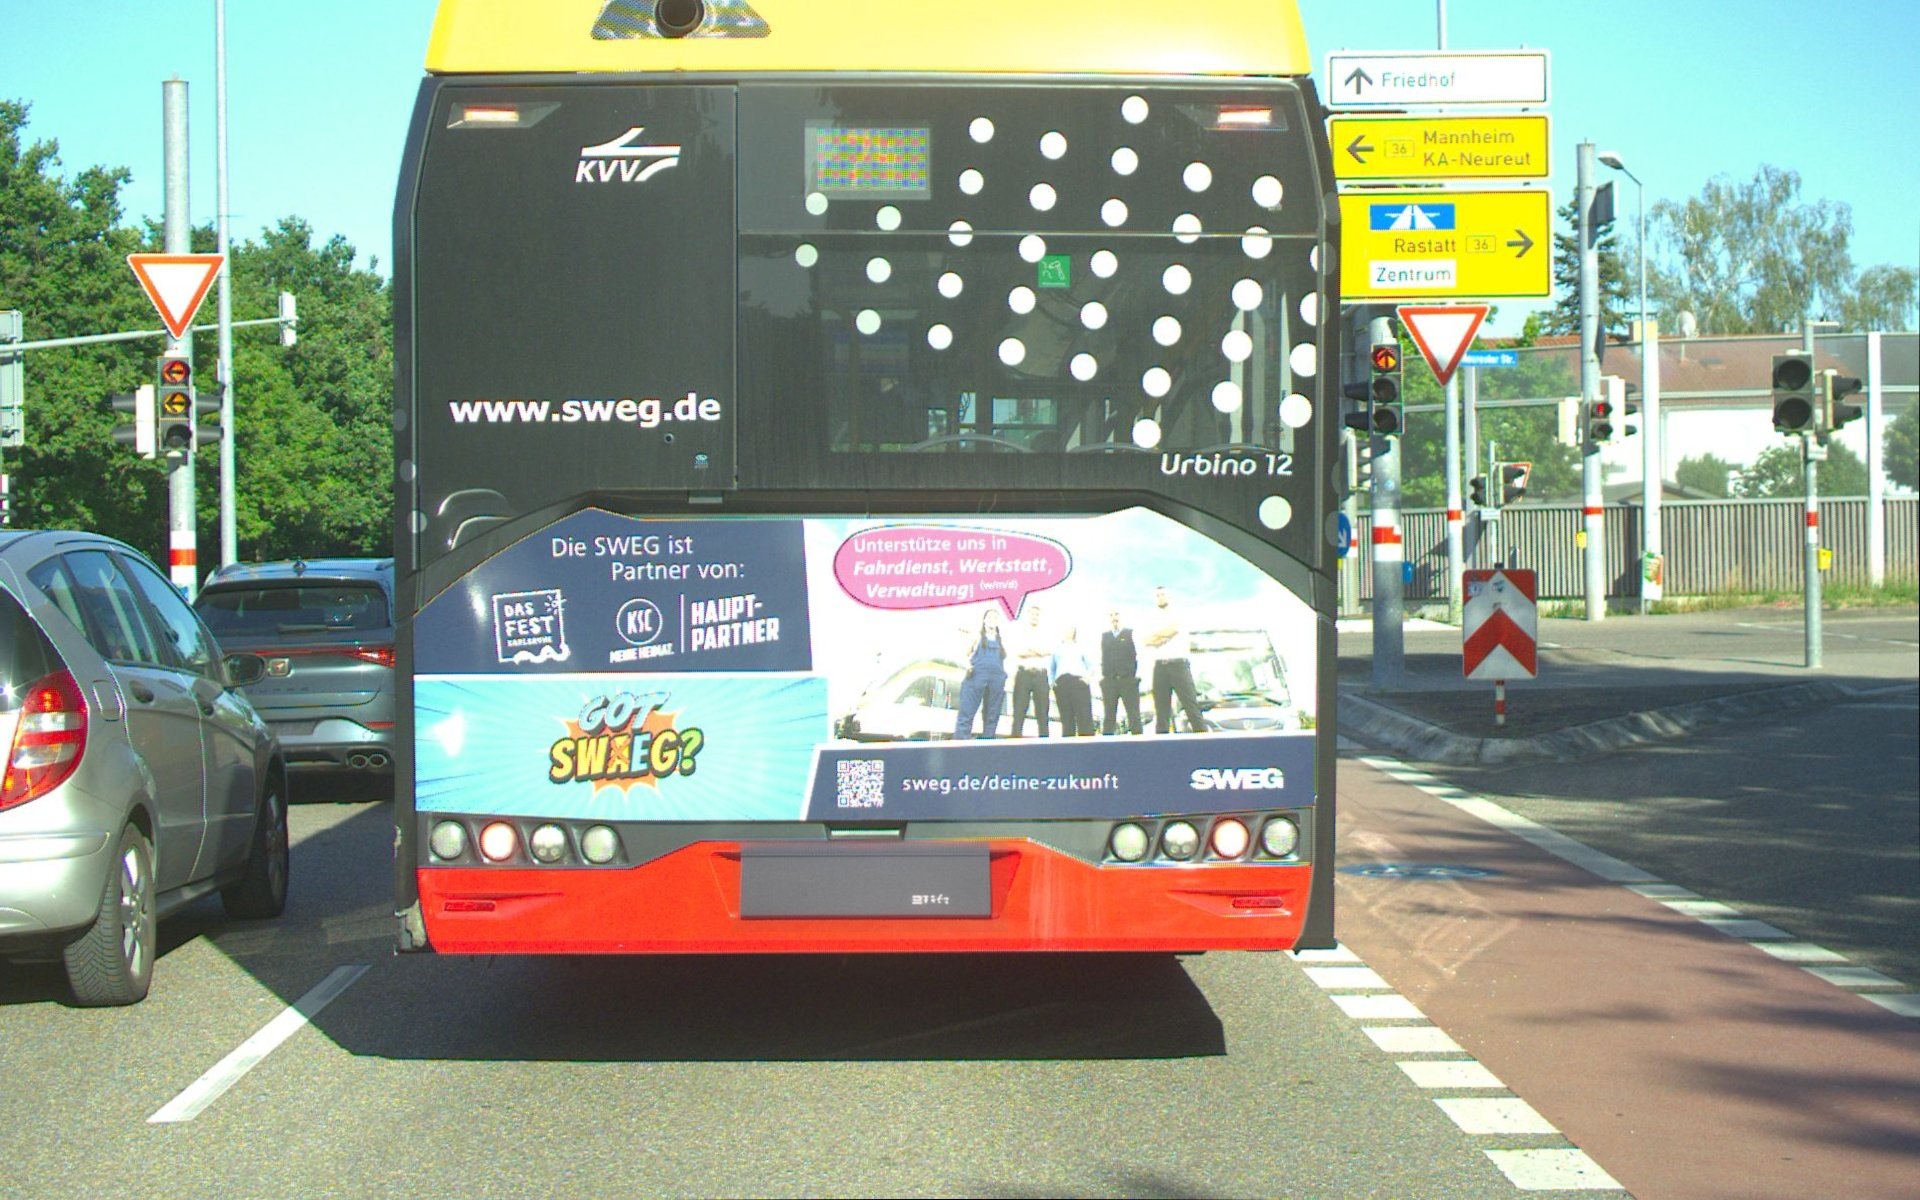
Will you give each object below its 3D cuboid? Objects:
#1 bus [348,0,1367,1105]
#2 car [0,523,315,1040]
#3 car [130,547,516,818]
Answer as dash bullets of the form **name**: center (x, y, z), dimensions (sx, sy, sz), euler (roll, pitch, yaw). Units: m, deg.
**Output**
- **bus**: center (-0.288, -0.401, 14.891), dimensions (2.642, 3.156, 11.861), euler (0, 1, 0)
- **car**: center (-3.607, 0.548, 12.573), dimensions (1.761, 1.584, 4.000), euler (-2, 1, -1)
- **car**: center (-3.807, 0.432, 21.124), dimensions (1.692, 1.453, 3.751), euler (-2, 1, -1)
